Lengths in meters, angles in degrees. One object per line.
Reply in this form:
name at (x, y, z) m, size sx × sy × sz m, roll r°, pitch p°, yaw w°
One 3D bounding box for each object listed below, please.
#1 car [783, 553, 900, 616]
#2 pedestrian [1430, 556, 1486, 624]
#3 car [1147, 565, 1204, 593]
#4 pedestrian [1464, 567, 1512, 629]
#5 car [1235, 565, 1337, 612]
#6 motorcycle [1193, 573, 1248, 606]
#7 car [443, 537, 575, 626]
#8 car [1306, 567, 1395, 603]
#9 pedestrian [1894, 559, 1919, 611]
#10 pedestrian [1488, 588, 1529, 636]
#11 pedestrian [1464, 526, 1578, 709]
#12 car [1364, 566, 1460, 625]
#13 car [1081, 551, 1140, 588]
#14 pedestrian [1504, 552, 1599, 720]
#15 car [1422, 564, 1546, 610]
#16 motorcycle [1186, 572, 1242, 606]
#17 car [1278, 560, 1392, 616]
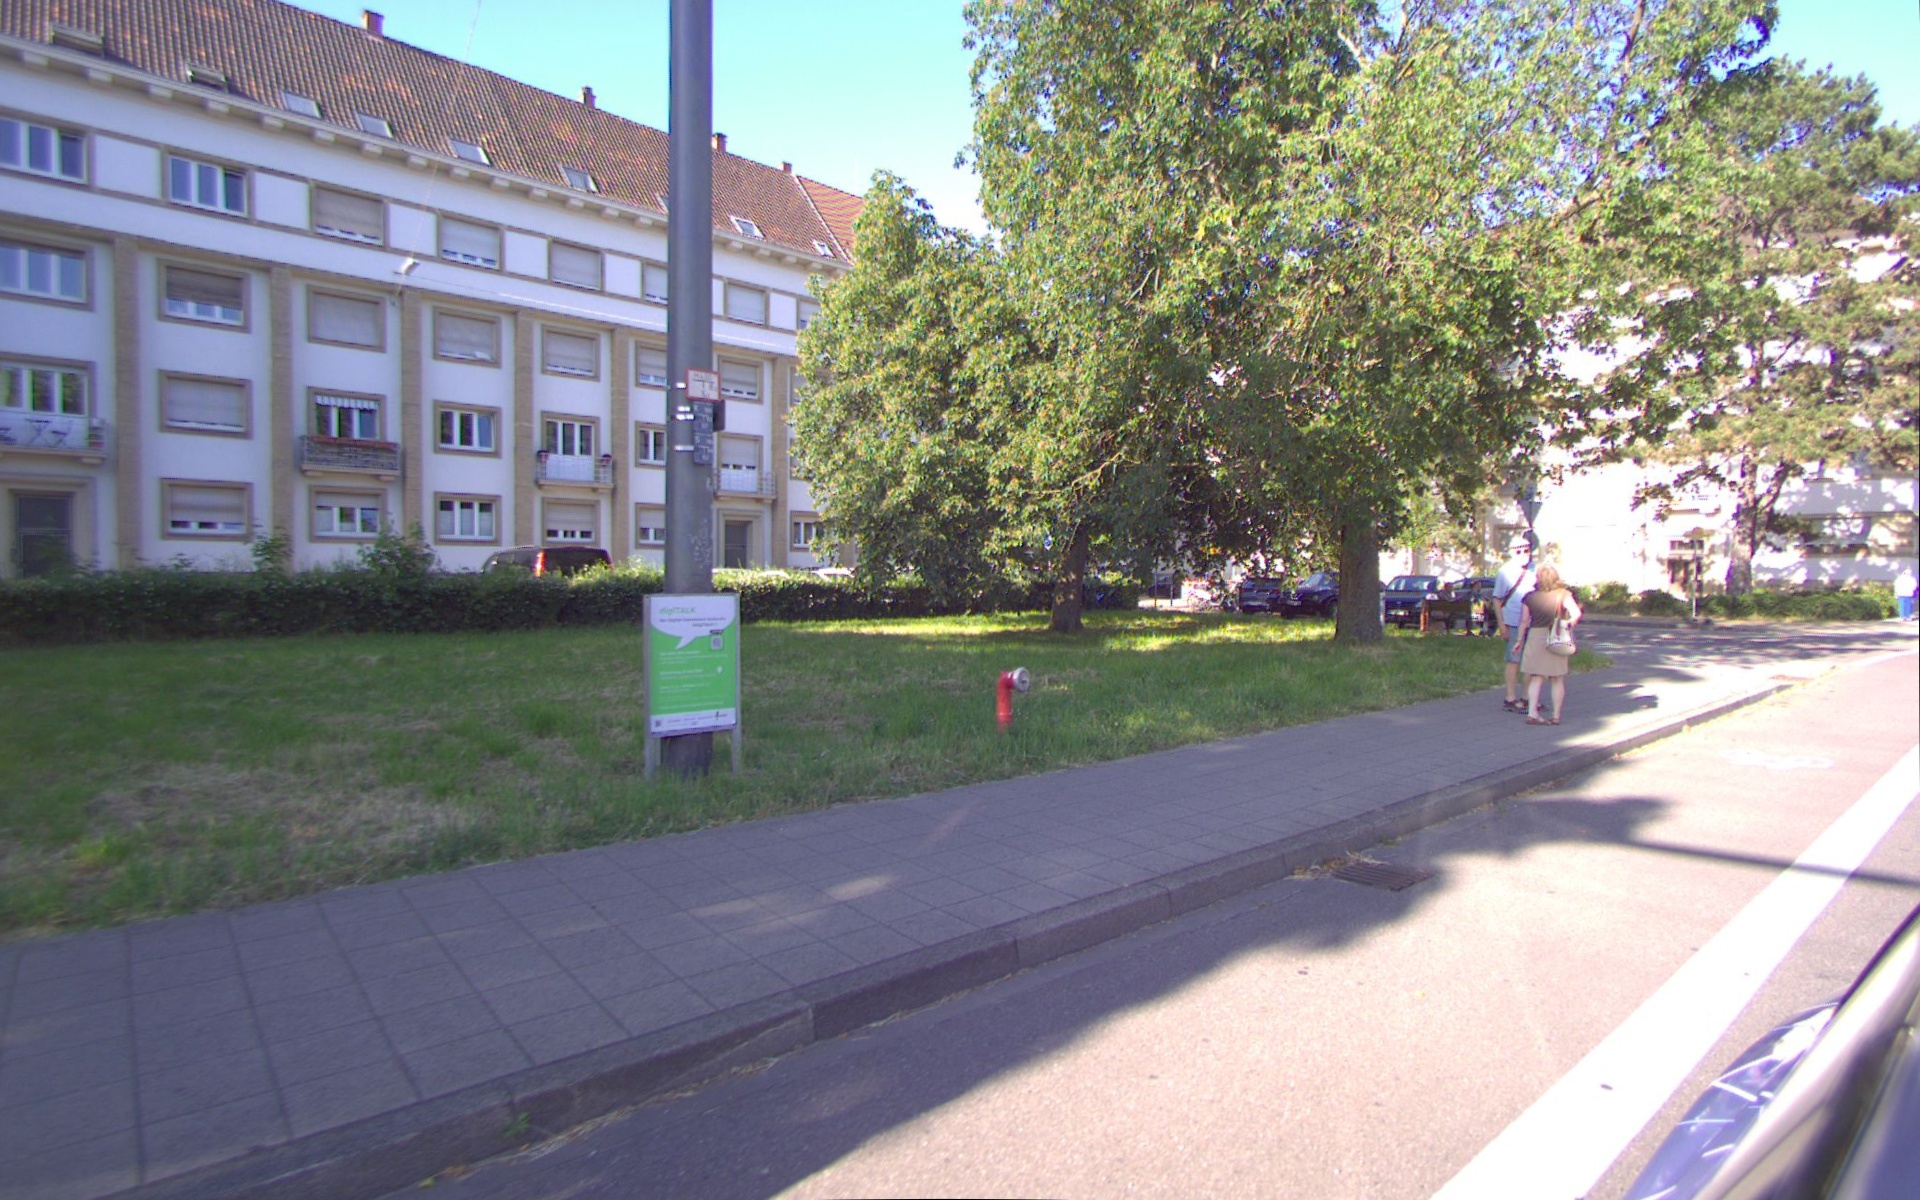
car at (-3.734, -0.437, 31.406) m, size 1.736 × 1.816 × 3.995 m, roll -1°, pitch 0°, yaw -39°
pedestrian at (10.410, -0.202, 21.181) m, size 0.739 × 1.390 × 0.688 m, roll -1°, pitch -1°, yaw -14°
car at (13.626, -1.321, 64.344) m, size 1.762 × 1.631 × 4.008 m, roll -1°, pitch 0°, yaw -17°
pedestrian at (10.722, -0.043, 20.551) m, size 0.745 × 1.242 × 0.405 m, roll -1°, pitch -1°, yaw -14°
car at (11.124, -0.423, 34.380) m, size 1.636 × 1.458 × 4.175 m, roll 3°, pitch 3°, yaw 43°
motorcycle at (9.519, -0.403, 36.944) m, size 1.772 × 1.085 × 0.705 m, roll 4°, pitch 3°, yaw 34°
car at (-10.256, -0.360, 22.850) m, size 1.736 × 1.816 × 3.995 m, roll -1°, pitch 0°, yaw -39°
car at (17.910, -0.726, 46.580) m, size 1.732 × 1.487 × 3.922 m, roll 0°, pitch 3°, yaw -17°
pedestrian at (32.219, -0.507, 34.131) m, size 0.711 × 1.743 × 0.883 m, roll 0°, pitch 2°, yaw -35°
pedestrian at (10.889, 0.235, 20.095) m, size 0.610 × 0.946 × 0.405 m, roll 1°, pitch -1°, yaw -14°
pedestrian at (5.806, 0.158, 10.484) m, size 0.681 × 1.811 × 0.706 m, roll 1°, pitch 3°, yaw -35°
car at (12.789, -0.183, 28.523) m, size 1.632 × 1.512 × 3.757 m, roll 2°, pitch 3°, yaw 37°
car at (10.917, -2.211, 73.688) m, size 2.082 × 2.473 × 5.328 m, roll -1°, pitch 0°, yaw -17°
pedestrian at (5.685, 0.316, 9.731) m, size 0.615 × 1.547 × 0.531 m, roll -1°, pitch 3°, yaw -35°
car at (20.077, -0.542, 38.980) m, size 1.733 × 1.519 × 4.316 m, roll -3°, pitch 4°, yaw -17°
motorcycle at (9.092, -0.411, 36.303) m, size 1.772 × 1.085 × 0.705 m, roll 4°, pitch 3°, yaw 34°
car at (11.501, -0.393, 30.940) m, size 3.738 × 1.591 × 1.456 m, roll -1°, pitch 3°, yaw -37°
